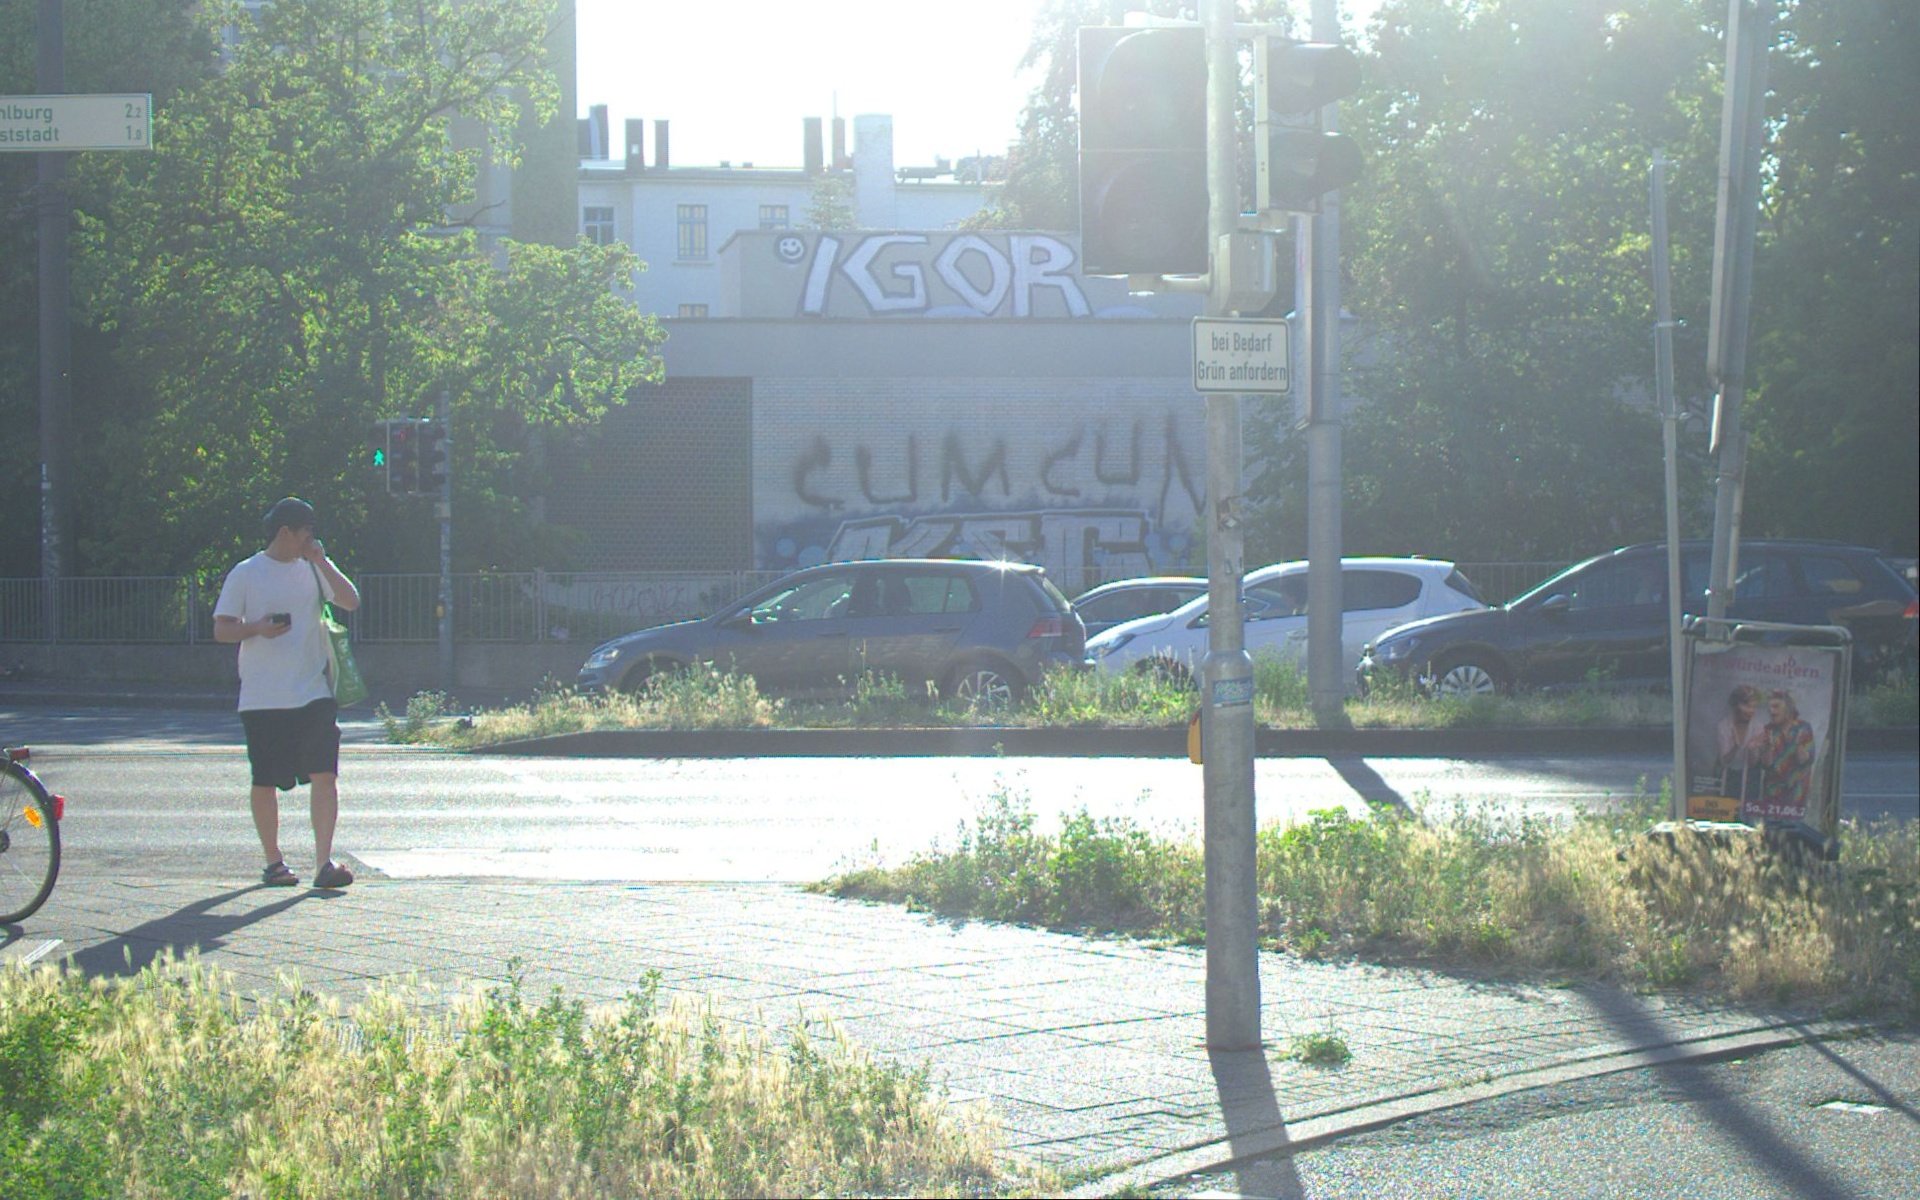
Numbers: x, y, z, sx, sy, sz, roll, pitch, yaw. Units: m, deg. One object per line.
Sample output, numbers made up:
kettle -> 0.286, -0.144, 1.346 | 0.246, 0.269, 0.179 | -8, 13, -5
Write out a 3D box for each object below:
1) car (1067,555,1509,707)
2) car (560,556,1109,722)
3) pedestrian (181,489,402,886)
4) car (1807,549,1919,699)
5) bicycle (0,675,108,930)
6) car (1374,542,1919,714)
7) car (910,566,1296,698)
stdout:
car -> 2.960, 0.268, 31.275 | 3.882, 1.315, 1.724 | 0, 1, 4
car -> -0.983, 0.304, 28.099 | 4.236, 1.292, 1.724 | 0, 1, 8
pedestrian -> -3.122, 0.387, 16.019 | 0.908, 1.783, 0.827 | -1, 0, -17
car -> 10.827, 0.208, 34.910 | 3.987, 1.459, 1.860 | -1, 1, 0
bicycle -> -4.416, 0.838, 14.594 | 1.668, 1.026, 0.399 | 0, 0, 26
car -> 5.484, 0.208, 27.215 | 4.363, 1.292, 1.724 | 0, 1, 7
car -> 1.496, 0.317, 35.514 | 3.882, 1.292, 1.724 | 0, 1, 4
